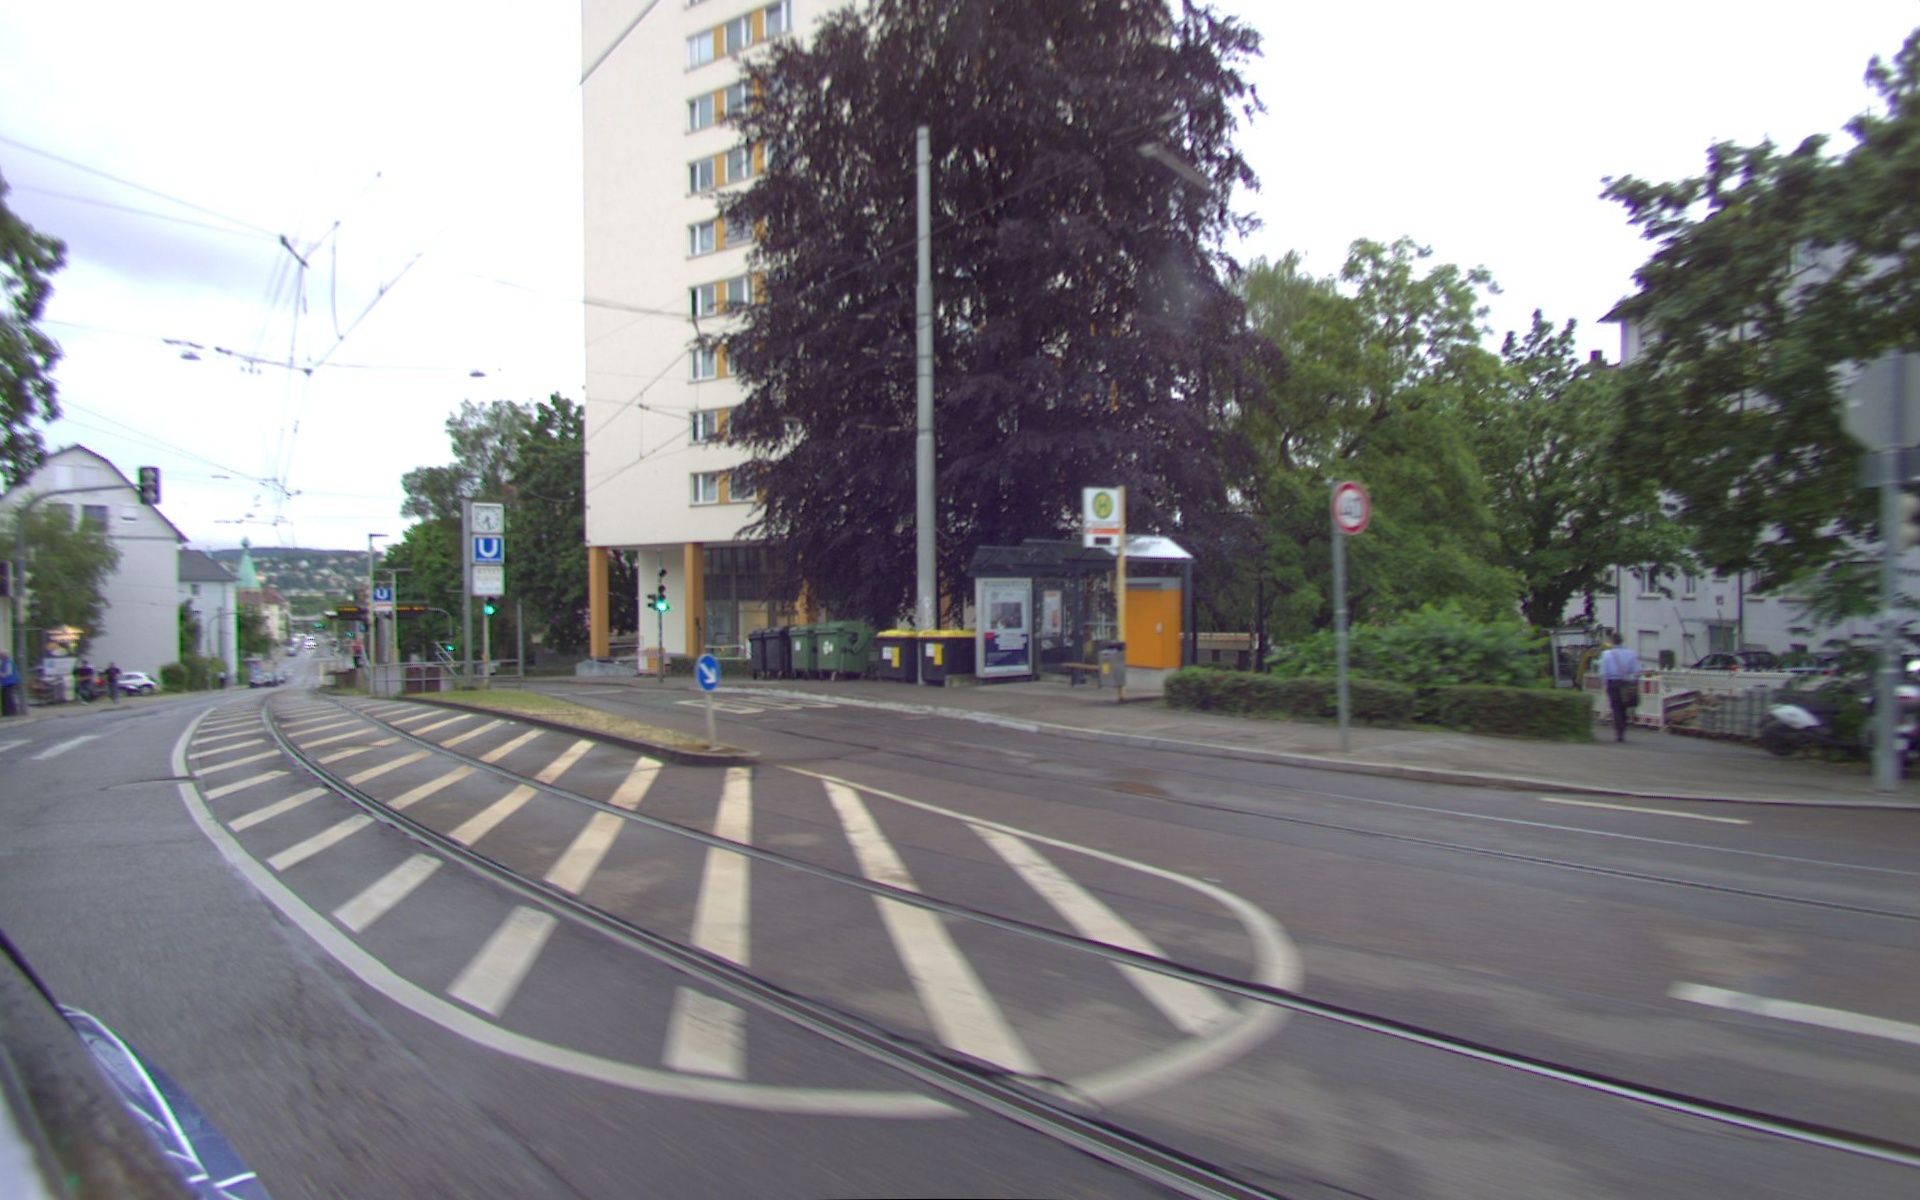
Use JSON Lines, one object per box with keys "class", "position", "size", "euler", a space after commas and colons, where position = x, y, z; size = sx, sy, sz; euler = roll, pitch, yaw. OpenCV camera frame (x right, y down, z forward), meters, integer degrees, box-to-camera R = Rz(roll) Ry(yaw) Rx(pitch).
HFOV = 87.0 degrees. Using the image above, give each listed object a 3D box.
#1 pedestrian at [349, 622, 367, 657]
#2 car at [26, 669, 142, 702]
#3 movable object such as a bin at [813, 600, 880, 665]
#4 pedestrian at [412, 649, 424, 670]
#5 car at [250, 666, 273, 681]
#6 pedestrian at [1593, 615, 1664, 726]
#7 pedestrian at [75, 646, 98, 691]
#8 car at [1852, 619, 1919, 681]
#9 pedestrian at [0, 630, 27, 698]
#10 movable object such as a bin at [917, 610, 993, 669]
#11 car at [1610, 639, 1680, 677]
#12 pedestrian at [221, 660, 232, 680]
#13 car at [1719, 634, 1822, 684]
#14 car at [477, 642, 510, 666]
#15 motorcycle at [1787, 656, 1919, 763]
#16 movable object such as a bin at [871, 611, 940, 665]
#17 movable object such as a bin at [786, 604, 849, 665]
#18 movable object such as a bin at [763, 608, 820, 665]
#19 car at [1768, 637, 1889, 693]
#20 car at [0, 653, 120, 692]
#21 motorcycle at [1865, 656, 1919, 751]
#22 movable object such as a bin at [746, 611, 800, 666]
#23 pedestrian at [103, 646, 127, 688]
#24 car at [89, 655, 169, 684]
{"class": "pedestrian", "position": [-28.300, 1.862, 47.596], "size": [0.662, 1.560, 0.773], "euler": [0, -3, -34]}
{"class": "car", "position": [-51.462, 5.000, 59.619], "size": [4.865, 1.447, 1.980], "euler": [-3, 0, -33]}
{"class": "movable object such as a bin", "position": [-2.750, 0.791, 24.312], "size": [1.007, 1.444, 1.431], "euler": [-3, -2, -31]}
{"class": "pedestrian", "position": [-44.399, 4.871, 82.915], "size": [0.742, 1.605, 0.619], "euler": [-3, -2, -31]}
{"class": "car", "position": [-71.174, 7.457, 103.188], "size": [1.697, 1.368, 4.011], "euler": [-2, -2, -32]}
{"class": "pedestrian", "position": [10.598, 1.096, 16.058], "size": [0.561, 1.697, 0.777], "euler": [1, -2, -41]}
{"class": "pedestrian", "position": [-34.495, 2.693, 39.968], "size": [0.571, 1.727, 0.615], "euler": [-3, -2, -37]}
{"class": "car", "position": [24.156, 1.222, 25.188], "size": [1.511, 1.452, 3.310], "euler": [-1, -1, 13]}
{"class": "pedestrian", "position": [-22.454, 1.504, 23.833], "size": [0.580, 1.566, 0.651], "euler": [1, -4, -34]}
{"class": "movable object such as a bin", "position": [-0.117, 0.850, 21.576], "size": [1.007, 1.147, 1.346], "euler": [-3, -2, -31]}
{"class": "car", "position": [28.637, 2.398, 42.378], "size": [1.381, 1.452, 3.049], "euler": [-1, -1, 13]}
{"class": "pedestrian", "position": [-62.218, 5.962, 85.871], "size": [0.647, 1.633, 0.632], "euler": [-1, -3, -28]}
{"class": "car", "position": [25.998, 1.863, 32.564], "size": [1.381, 1.452, 3.049], "euler": [-1, -1, 13]}
{"class": "car", "position": [-37.665, 4.369, 81.633], "size": [1.723, 1.730, 4.452], "euler": [-1, -3, -34]}
{"class": "motorcycle", "position": [10.666, 1.236, 11.743], "size": [0.479, 1.057, 2.121], "euler": [-3, -1, 4]}
{"class": "movable object such as a bin", "position": [-1.254, 0.880, 23.160], "size": [1.007, 1.147, 1.346], "euler": [-3, -2, -31]}
{"class": "movable object such as a bin", "position": [-3.656, 0.893, 25.871], "size": [1.007, 1.444, 1.448], "euler": [-3, -2, -31]}
{"class": "movable object such as a bin", "position": [-4.526, 0.991, 27.138], "size": [1.007, 1.444, 1.359], "euler": [-3, -2, -31]}
{"class": "car", "position": [25.010, 1.838, 29.261], "size": [1.381, 1.452, 3.049], "euler": [-1, -1, 13]}
{"class": "car", "position": [-40.003, 3.203, 44.652], "size": [4.268, 1.687, 1.785], "euler": [2, -5, -31]}
{"class": "motorcycle", "position": [11.534, 1.232, 11.589], "size": [0.479, 1.056, 2.121], "euler": [-4, -1, 4]}
{"class": "movable object such as a bin", "position": [-5.262, 1.073, 28.383], "size": [1.007, 1.444, 1.308], "euler": [-3, -2, -31]}
{"class": "pedestrian", "position": [-35.546, 2.808, 42.568], "size": [0.709, 1.727, 0.609], "euler": [2, -5, -39]}
{"class": "car", "position": [-53.948, 4.511, 65.768], "size": [3.935, 1.477, 1.821], "euler": [-1, 3, -38]}
